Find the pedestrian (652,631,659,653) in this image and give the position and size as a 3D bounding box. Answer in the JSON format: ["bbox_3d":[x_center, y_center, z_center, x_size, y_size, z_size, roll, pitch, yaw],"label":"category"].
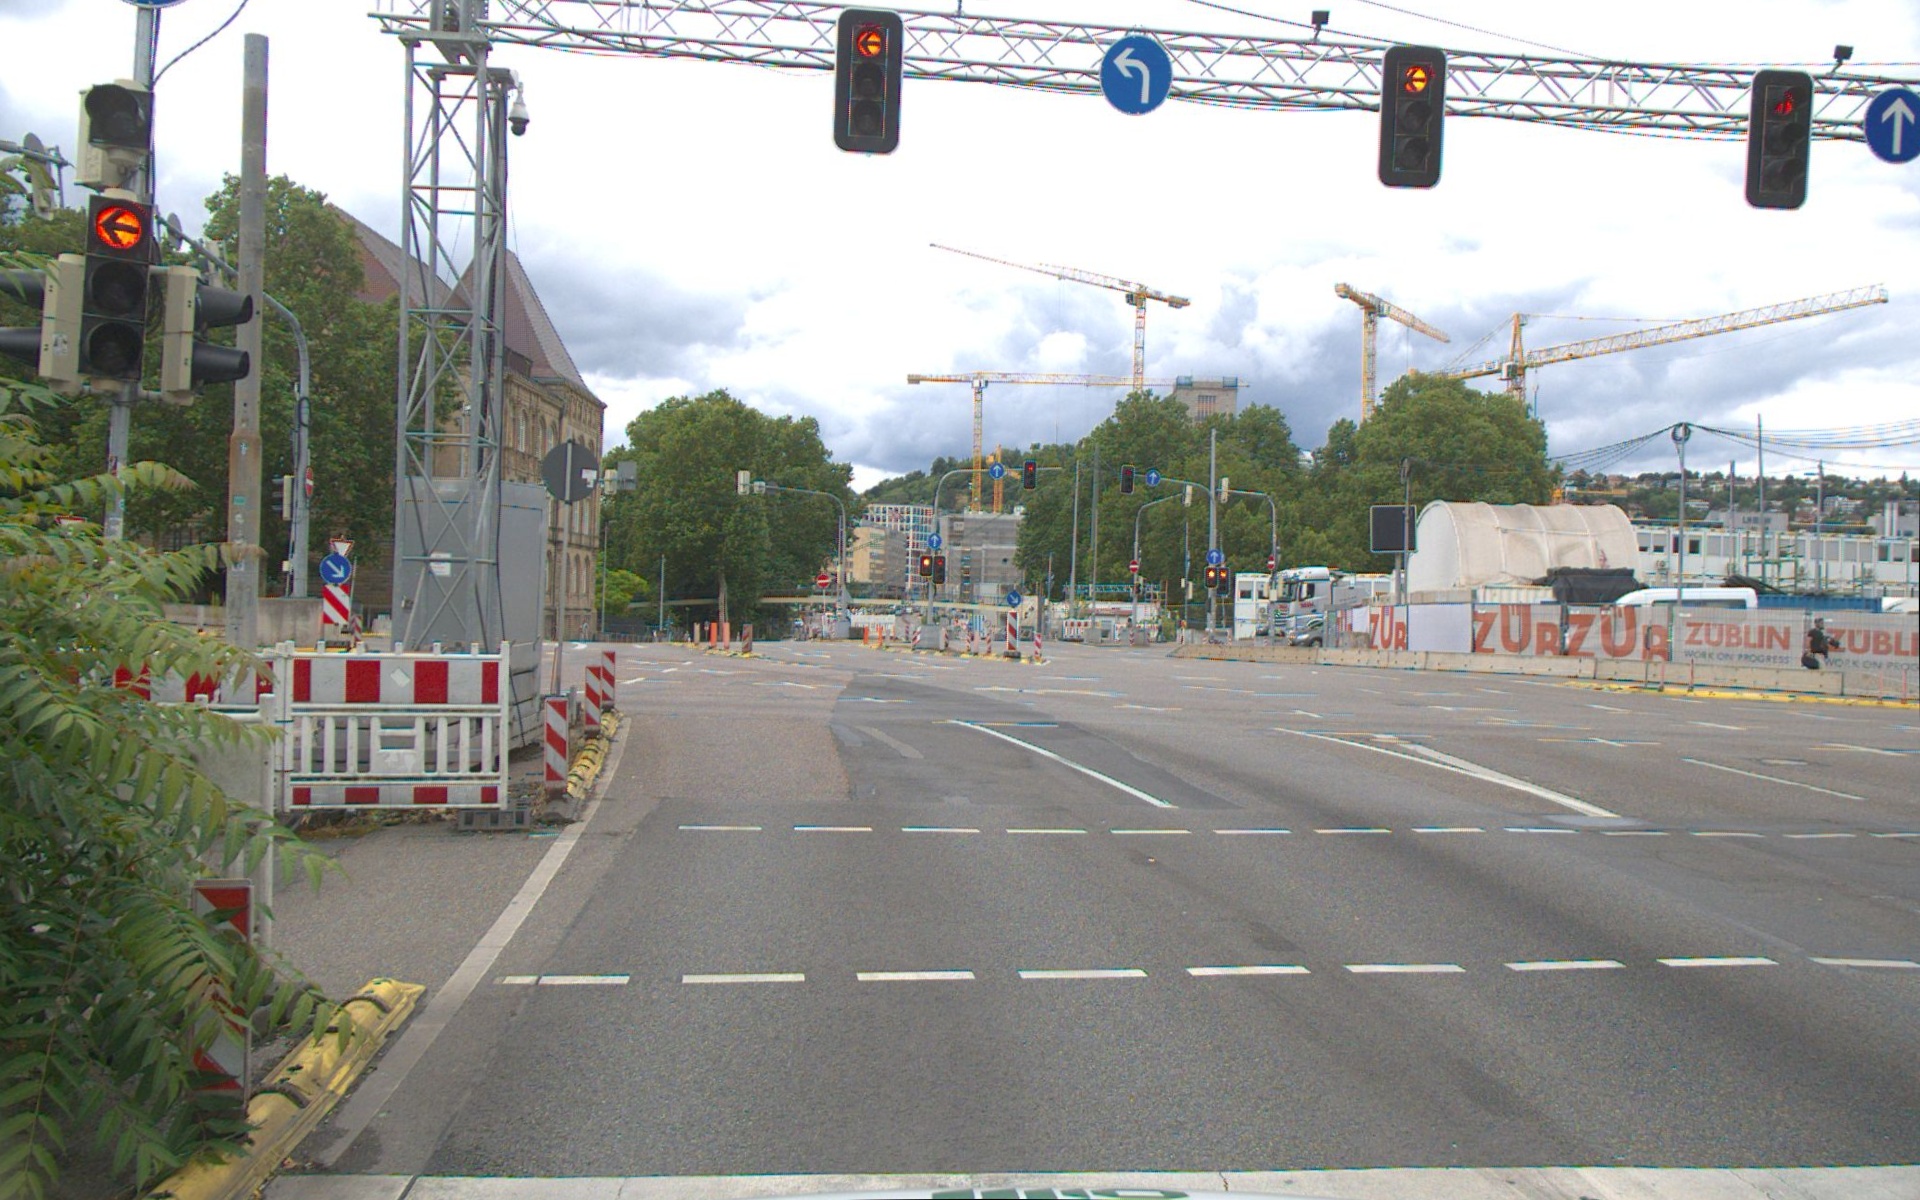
[{"bbox_3d":[-28.263,3.881,153.542,0.513,2.049,0.566,1,0,-1],"label":"pedestrian"}]

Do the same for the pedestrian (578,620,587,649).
[{"bbox_3d":[-26.577,2.430,116.450,0.513,2.049,0.566,1,0,-1],"label":"pedestrian"}]

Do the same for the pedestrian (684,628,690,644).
[{"bbox_3d":[-28.829,3.788,174.707,0.525,1.620,0.515,1,0,-5],"label":"pedestrian"}]

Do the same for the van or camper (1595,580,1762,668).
[{"bbox_3d":[20.728,0.673,47.900,4.123,2.398,2.002,1,0,14],"label":"van or camper"}]

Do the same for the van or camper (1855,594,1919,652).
[{"bbox_3d":[50.029,1.222,86.964,5.190,2.962,1.994,1,0,-13],"label":"van or camper"}]

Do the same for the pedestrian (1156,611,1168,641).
[{"bbox_3d":[11.589,1.502,94.837,0.555,1.718,0.471,2,0,-1],"label":"pedestrian"}]

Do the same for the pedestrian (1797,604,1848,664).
[{"bbox_3d":[20.897,0.815,40.065,0.889,1.402,0.794,2,0,42],"label":"pedestrian"}]

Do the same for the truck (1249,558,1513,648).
[{"bbox_3d":[20.990,0.167,82.309,12.837,4.111,3.927,1,0,-21],"label":"truck"}]

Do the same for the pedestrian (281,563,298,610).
[{"bbox_3d":[-29.510,-0.611,72.829,0.523,2.049,0.421,2,0,-44],"label":"pedestrian"}]

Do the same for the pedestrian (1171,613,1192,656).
[{"bbox_3d":[9.061,1.407,67.566,0.714,1.718,0.677,2,0,-1],"label":"pedestrian"}]

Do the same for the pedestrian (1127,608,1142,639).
[{"bbox_3d":[10.014,1.356,95.044,0.714,1.718,0.677,2,0,-1],"label":"pedestrian"}]
